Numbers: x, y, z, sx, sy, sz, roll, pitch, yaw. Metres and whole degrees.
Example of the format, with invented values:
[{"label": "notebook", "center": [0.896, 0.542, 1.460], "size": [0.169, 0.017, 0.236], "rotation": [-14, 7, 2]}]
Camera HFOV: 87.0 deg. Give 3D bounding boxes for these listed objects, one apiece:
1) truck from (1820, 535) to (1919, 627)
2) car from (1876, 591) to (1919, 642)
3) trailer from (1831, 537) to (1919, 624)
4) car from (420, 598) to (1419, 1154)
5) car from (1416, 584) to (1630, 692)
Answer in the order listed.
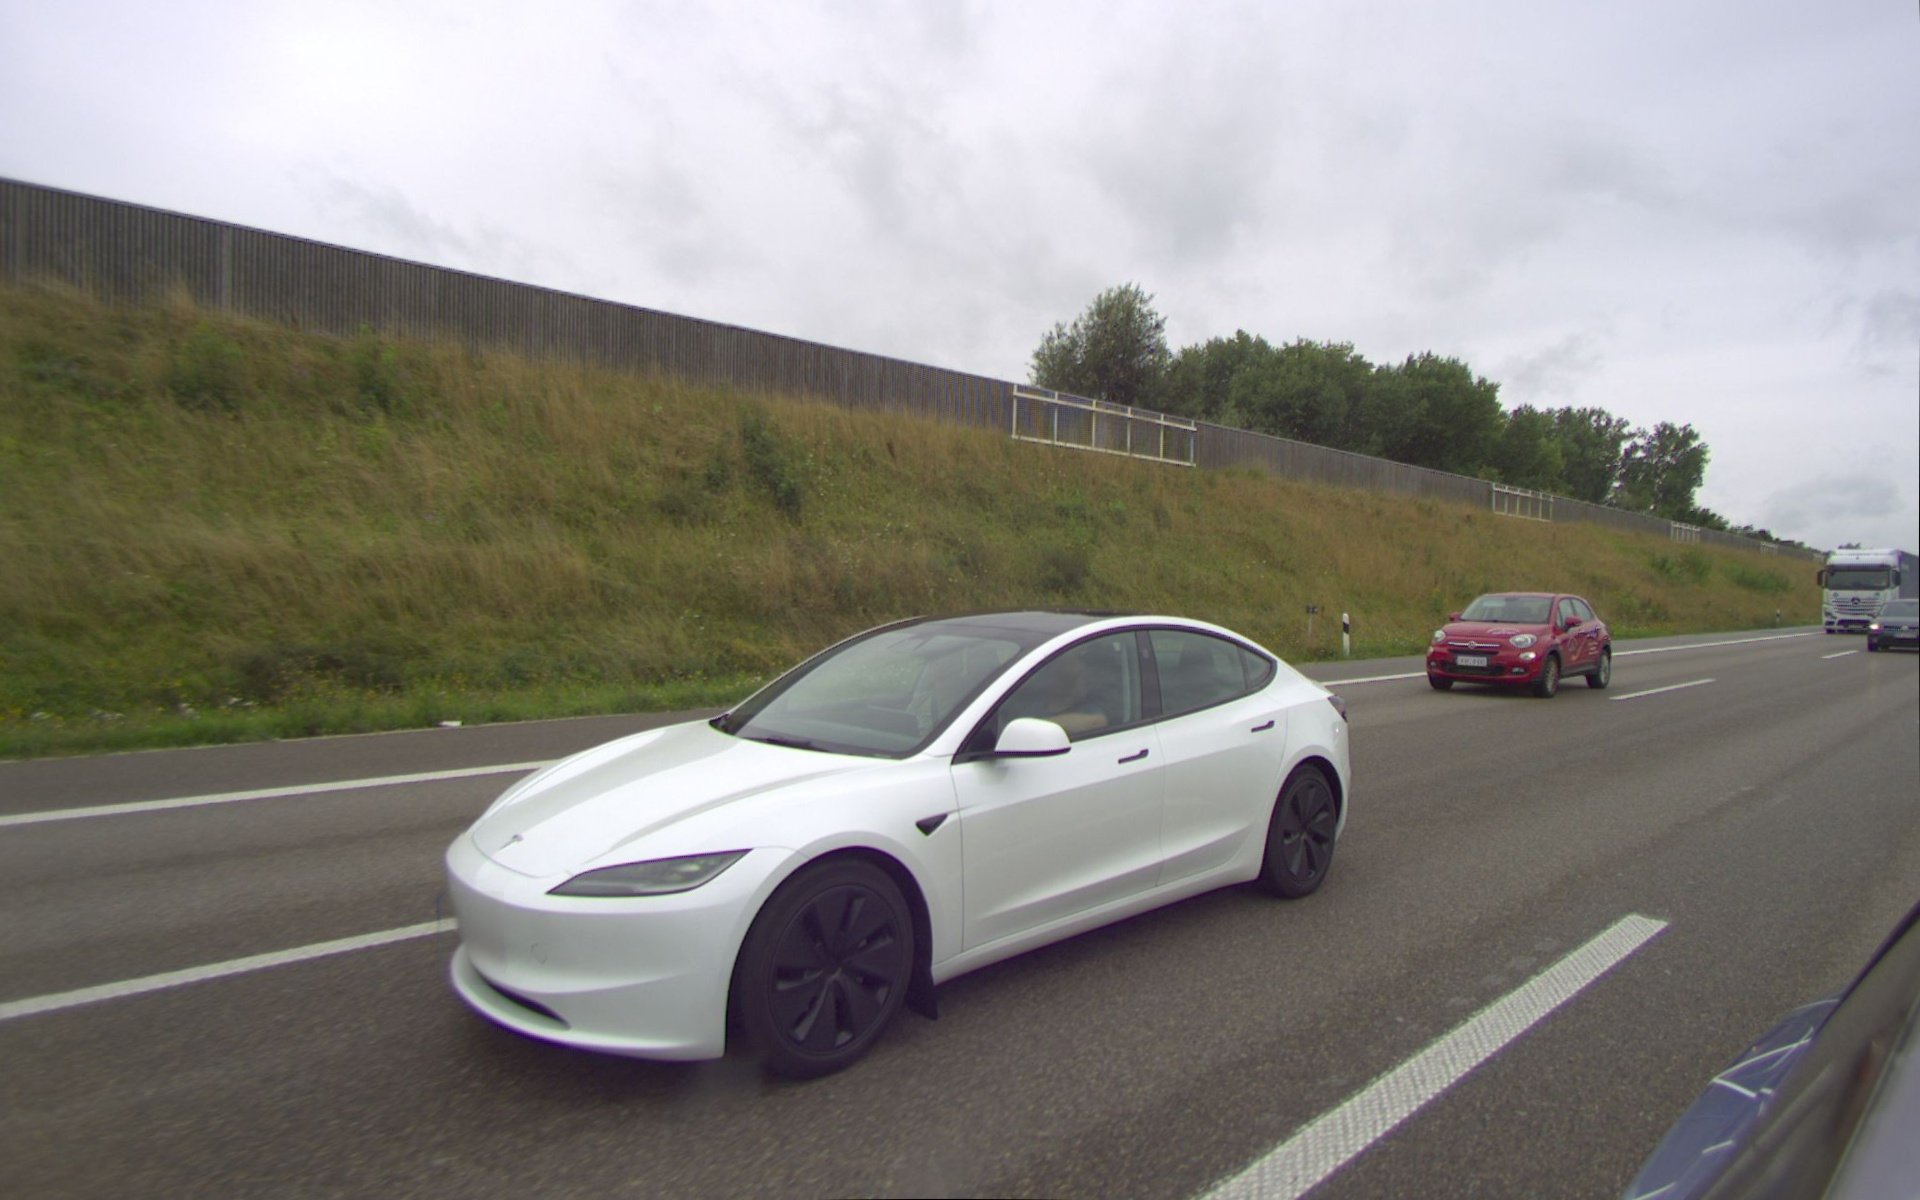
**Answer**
[{"label": "truck", "center": [43.936, -0.891, 48.632], "size": [6.837, 4.077, 3.086], "rotation": [0, 0, -42]}, {"label": "car", "center": [30.073, 0.466, 31.387], "size": [4.407, 1.507, 1.928], "rotation": [-1, 1, -41]}, {"label": "trailer", "center": [49.320, -0.986, 53.480], "size": [14.960, 4.077, 3.086], "rotation": [-1, 0, -42]}, {"label": "car", "center": [0.236, 0.699, 4.879], "size": [4.730, 1.380, 1.876], "rotation": [-1, 1, -42]}, {"label": "car", "center": [9.248, 0.520, 16.504], "size": [3.931, 1.554, 1.876], "rotation": [-1, 1, -42]}]
